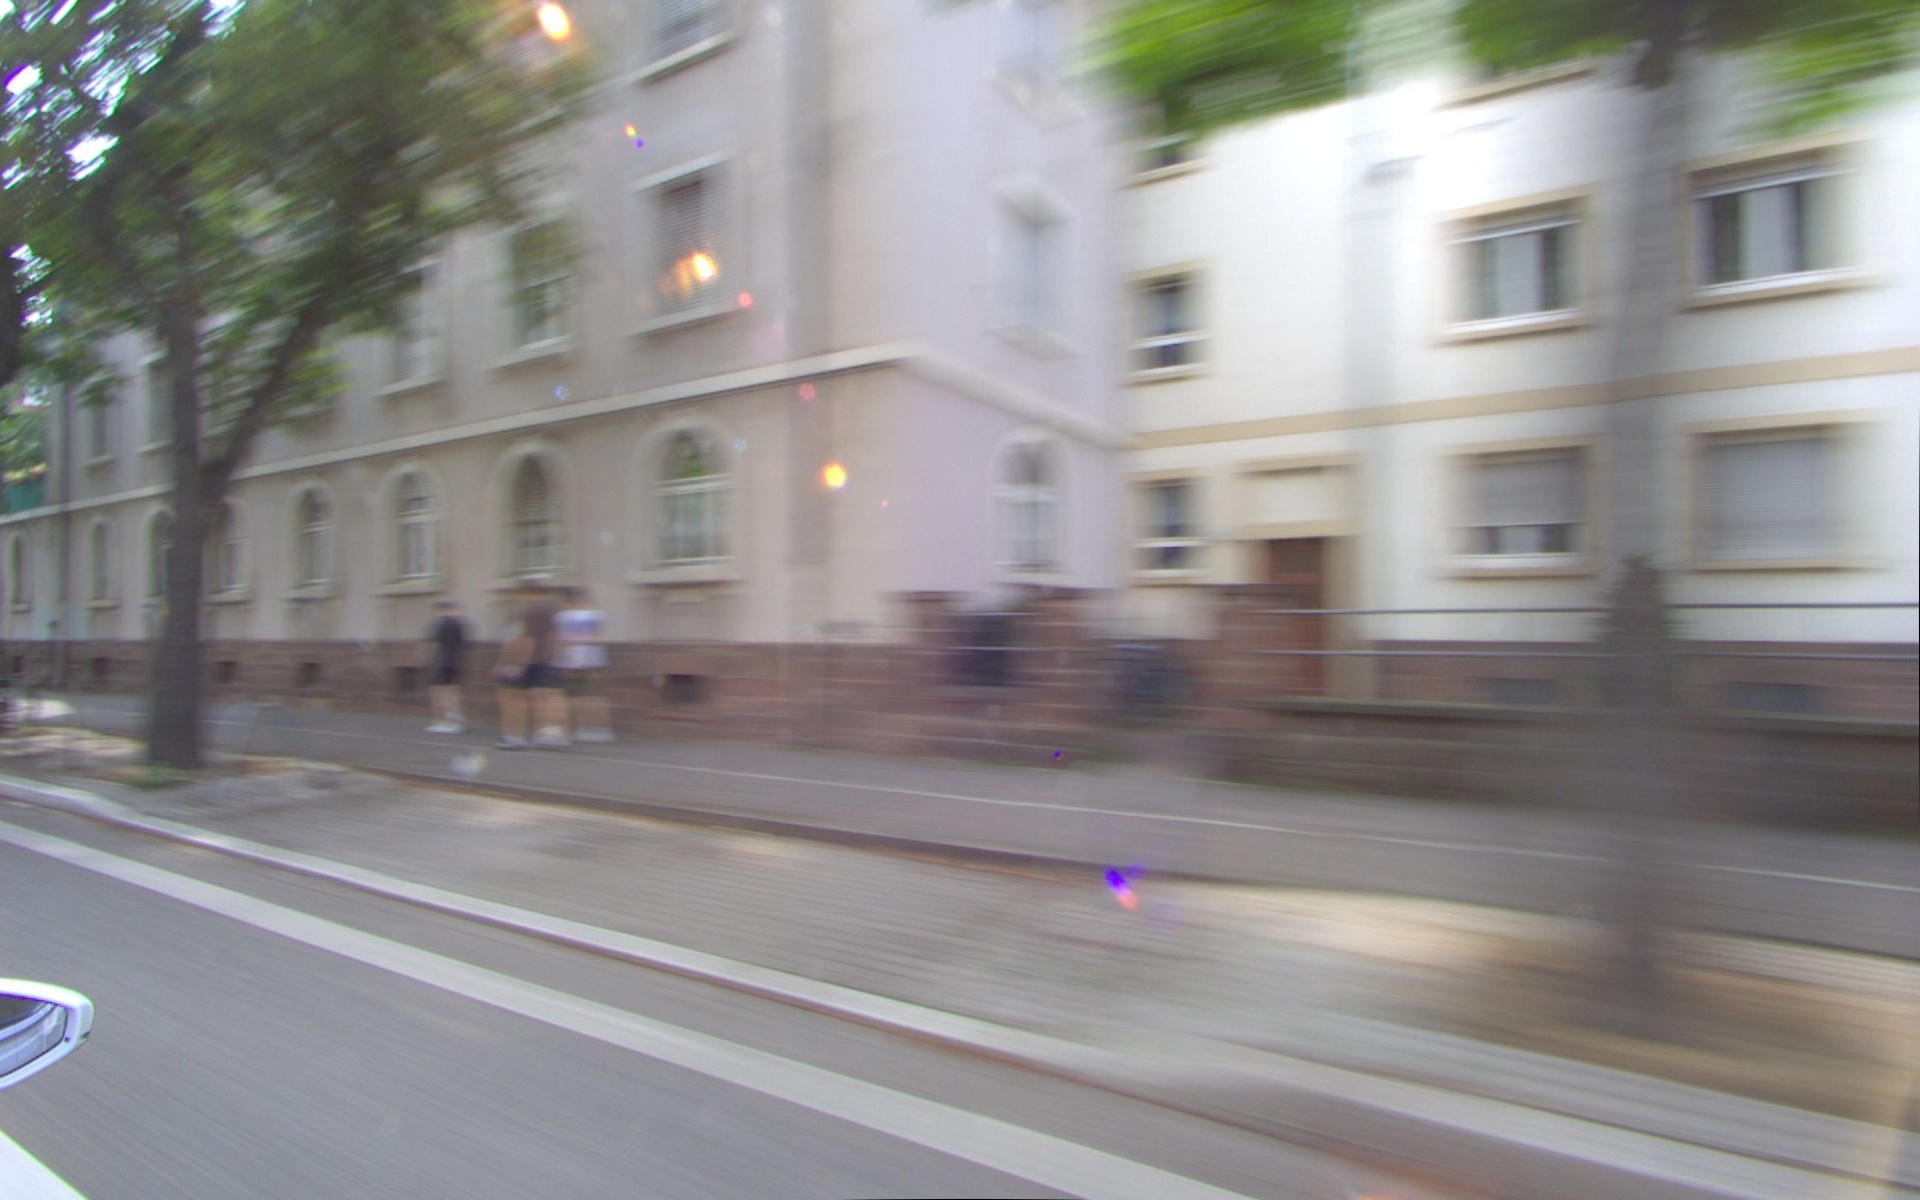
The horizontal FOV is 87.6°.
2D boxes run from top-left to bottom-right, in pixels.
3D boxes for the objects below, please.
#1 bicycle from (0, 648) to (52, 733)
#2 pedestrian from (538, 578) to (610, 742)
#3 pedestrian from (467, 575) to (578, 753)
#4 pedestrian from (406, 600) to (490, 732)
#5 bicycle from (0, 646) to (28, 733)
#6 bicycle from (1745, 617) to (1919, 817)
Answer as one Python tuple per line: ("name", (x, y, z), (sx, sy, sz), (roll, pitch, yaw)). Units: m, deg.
("bicycle", (-13.663, 1.269, 13.919), (0.512, 1.168, 1.482), (-1, -1, 39))
("pedestrian", (-4.587, 0.701, 11.904), (0.677, 1.876, 0.503), (-1, -1, 32))
("pedestrian", (-4.912, 0.691, 11.262), (0.873, 1.914, 0.752), (-1, 1, 32))
("pedestrian", (-6.710, 0.848, 13.119), (0.962, 1.660, 0.579), (-1, -1, 32))
("bicycle", (-14.217, 1.289, 14.155), (0.512, 1.236, 1.482), (-2, -2, 39))
("bicycle", (6.962, 0.783, 6.738), (2.562, 1.335, 0.651), (-2, -2, 33))
